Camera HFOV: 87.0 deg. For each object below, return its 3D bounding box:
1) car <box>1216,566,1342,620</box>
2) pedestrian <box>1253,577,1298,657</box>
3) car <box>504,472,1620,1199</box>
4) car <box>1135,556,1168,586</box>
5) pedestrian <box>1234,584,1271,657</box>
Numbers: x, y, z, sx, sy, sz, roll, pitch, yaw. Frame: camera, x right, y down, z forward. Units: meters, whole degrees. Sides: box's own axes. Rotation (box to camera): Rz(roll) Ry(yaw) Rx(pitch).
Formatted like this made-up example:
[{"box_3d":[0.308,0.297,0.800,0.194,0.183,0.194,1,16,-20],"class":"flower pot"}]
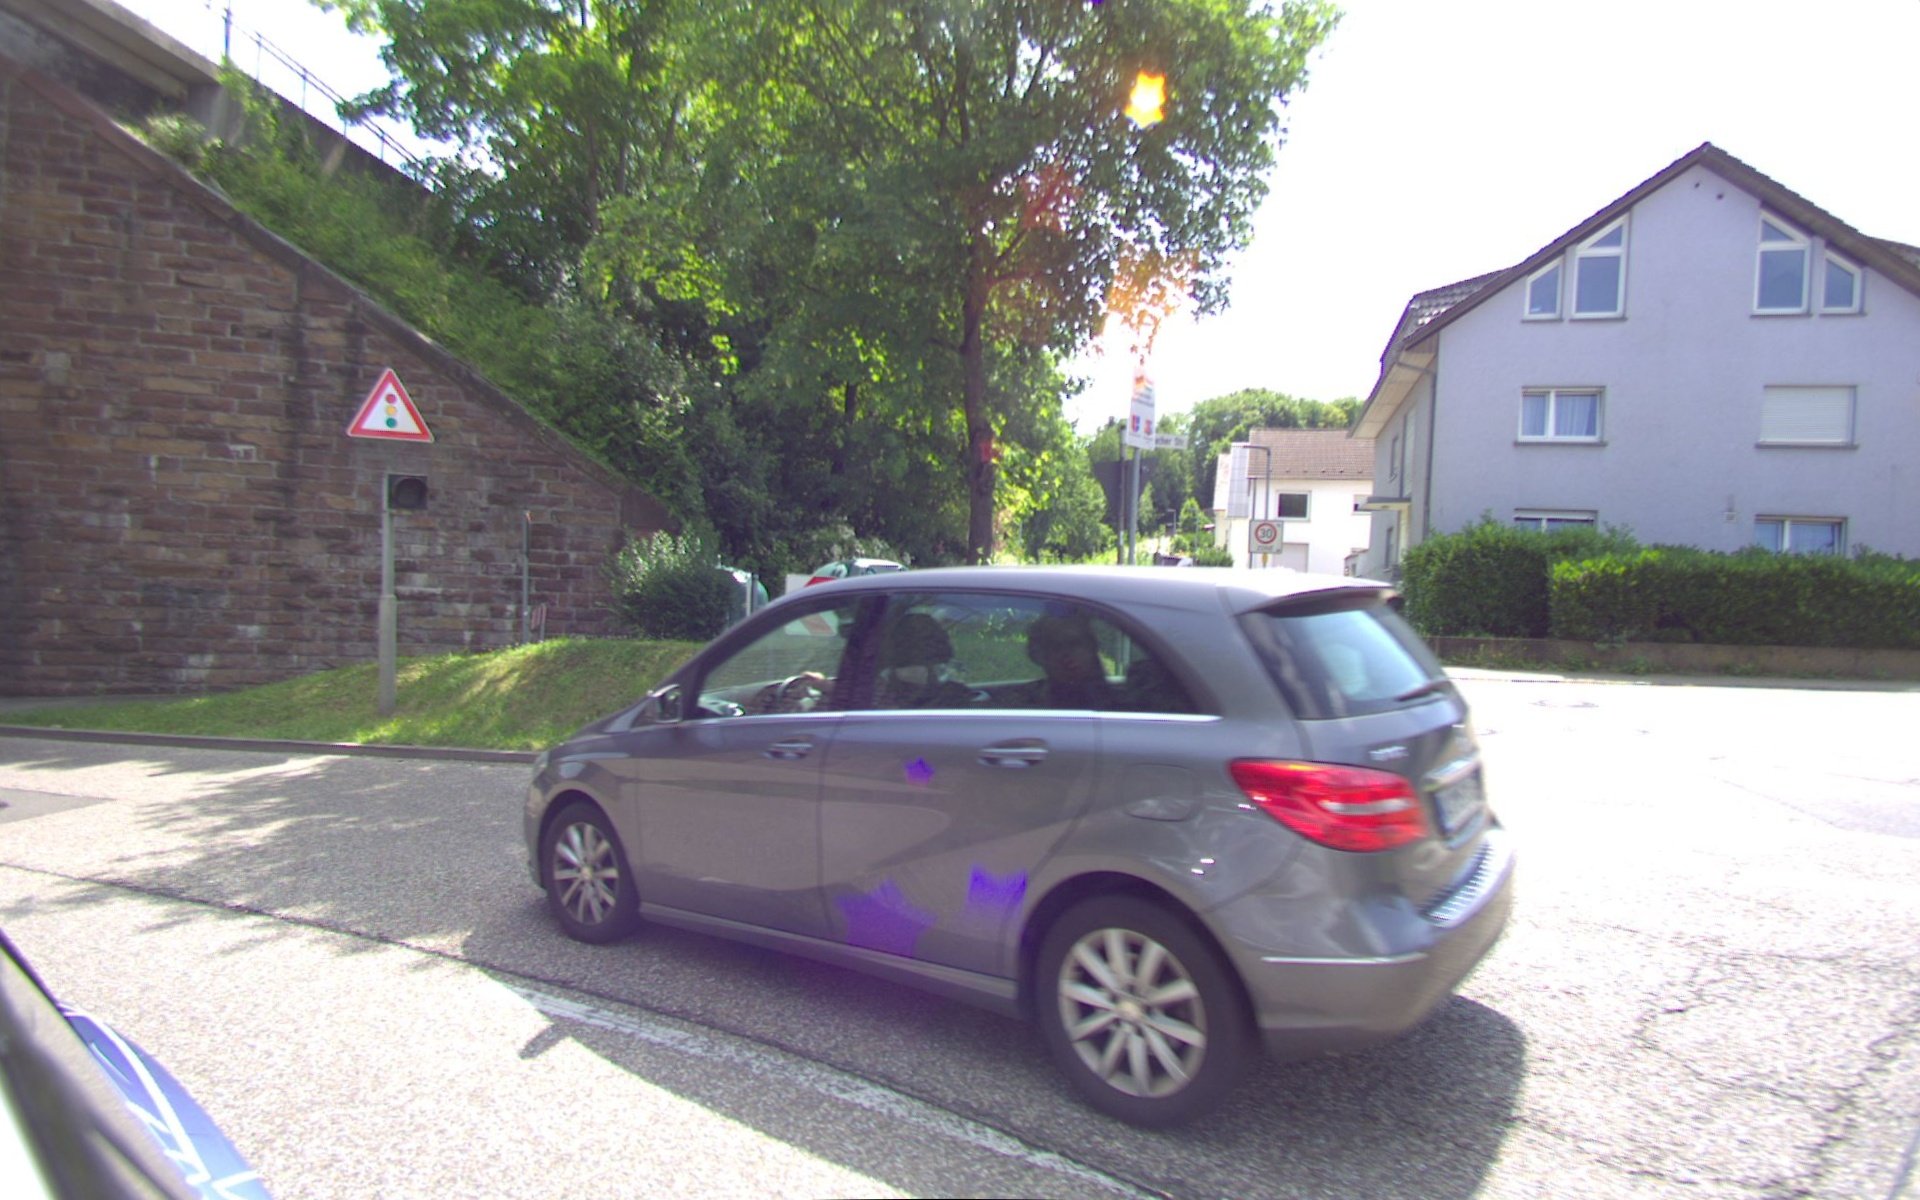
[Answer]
[{"box_3d":[12.734,-0.242,40.672,4.667,2.029,1.991,-1,-1,15],"class":"car"},{"box_3d":[6.955,0.360,22.342,0.677,1.725,0.790,-1,0,-5],"class":"pedestrian"},{"box_3d":[0.044,0.569,4.006,4.124,1.567,1.701,-2,-1,39],"class":"car"},{"box_3d":[14.529,-2.176,77.004,1.975,2.029,4.705,-1,-1,5],"class":"car"},{"box_3d":[6.351,0.438,21.971,0.565,1.566,0.600,-1,0,-5],"class":"pedestrian"}]
